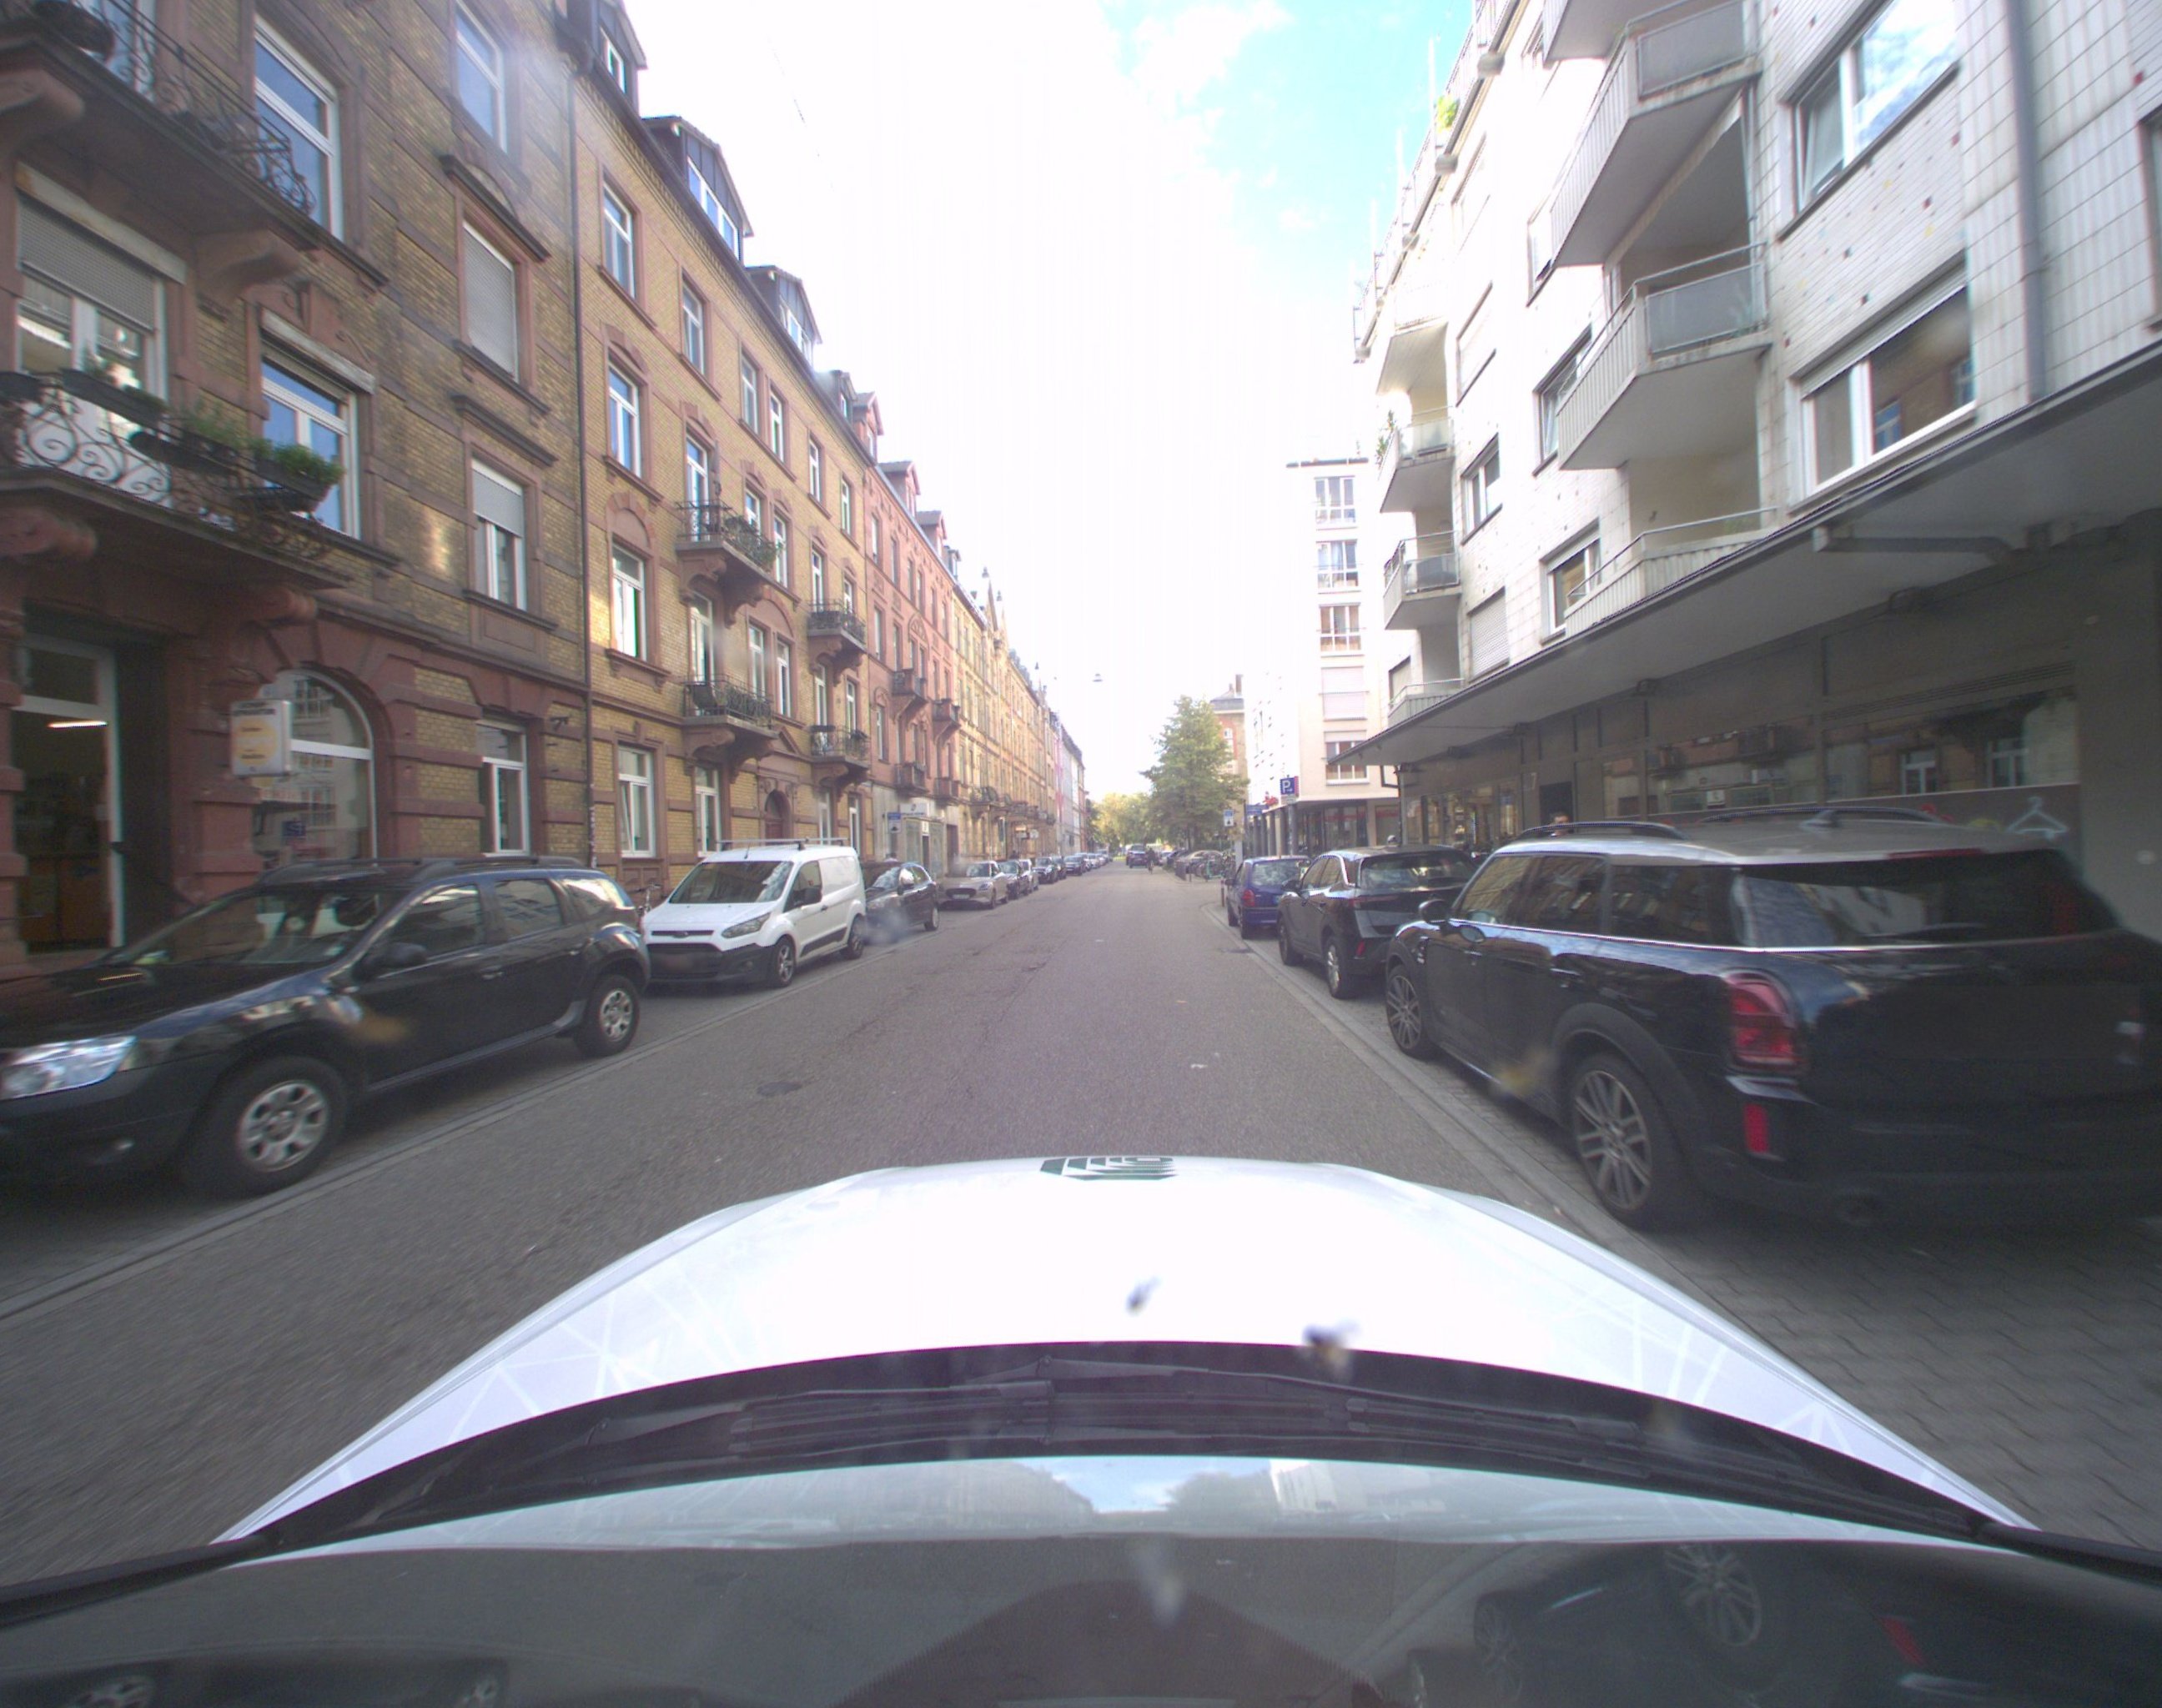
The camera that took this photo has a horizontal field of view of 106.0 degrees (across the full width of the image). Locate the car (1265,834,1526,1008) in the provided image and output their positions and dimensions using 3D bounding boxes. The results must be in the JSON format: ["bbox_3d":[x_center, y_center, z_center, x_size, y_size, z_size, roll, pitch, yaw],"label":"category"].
[{"bbox_3d":[3.405,0.638,9.631,1.681,1.577,3.905,-3,0,3],"label":"car"}]

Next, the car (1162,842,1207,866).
[{"bbox_3d":[9.435,-0.042,74.299,3.964,1.683,1.742,-4,8,8],"label":"car"}]

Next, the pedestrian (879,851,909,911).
[{"bbox_3d":[-5.691,0.805,24.799,0.729,1.790,0.771,2,0,-3],"label":"pedestrian"}]

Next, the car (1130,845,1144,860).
[{"bbox_3d":[7.596,-0.180,110.250,1.774,2.020,3.891,-1,0,3],"label":"car"}]

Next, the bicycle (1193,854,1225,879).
[{"bbox_3d":[6.361,0.606,40.495,1.491,1.146,0.411,-4,0,-1],"label":"bicycle"}]

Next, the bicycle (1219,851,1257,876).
[{"bbox_3d":[7.902,0.484,40.997,1.761,1.146,0.411,-4,0,-2],"label":"bicycle"}]

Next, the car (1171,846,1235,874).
[{"bbox_3d":[7.965,0.425,53.222,3.756,1.546,1.727,-4,-1,-7],"label":"car"}]

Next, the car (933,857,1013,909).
[{"bbox_3d":[-3.368,0.868,26.013,1.734,1.483,3.988,-1,0,4],"label":"car"}]

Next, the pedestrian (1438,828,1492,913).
[{"bbox_3d":[7.516,0.309,15.954,0.640,1.588,0.782,-4,-1,6],"label":"pedestrian"}]

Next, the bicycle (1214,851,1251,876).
[{"bbox_3d":[7.717,0.489,41.513,1.769,1.146,0.409,-4,0,-16],"label":"bicycle"}]

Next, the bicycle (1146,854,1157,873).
[{"bbox_3d":[4.914,0.666,56.838,0.714,1.274,1.887,-1,0,5],"label":"bicycle"}]

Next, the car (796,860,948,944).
[{"bbox_3d":[-4.078,0.876,16.583,1.733,1.483,3.989,-1,0,5],"label":"car"}]

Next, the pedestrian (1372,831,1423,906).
[{"bbox_3d":[7.003,0.320,18.062,0.820,1.588,0.782,-2,-1,6],"label":"pedestrian"}]

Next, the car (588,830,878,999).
[{"bbox_3d":[-4.514,0.680,11.462,1.911,1.871,4.441,-2,0,3],"label":"car"}]

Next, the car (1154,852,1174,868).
[{"bbox_3d":[8.775,0.625,86.338,1.921,1.638,4.005,-1,0,4],"label":"car"}]

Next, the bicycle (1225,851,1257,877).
[{"bbox_3d":[7.941,0.487,40.454,1.488,1.146,0.412,-4,0,4],"label":"bicycle"}]

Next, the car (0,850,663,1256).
[{"bbox_3d":[-4.927,0.815,5.401,1.985,1.638,4.148,-1,0,3],"label":"car"}]

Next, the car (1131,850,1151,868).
[{"bbox_3d":[5.992,0.535,81.275,1.956,1.741,4.046,-1,-1,4],"label":"car"}]

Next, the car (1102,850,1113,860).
[{"bbox_3d":[4.305,0.224,131.302,1.683,1.550,3.871,-1,0,4],"label":"car"}]

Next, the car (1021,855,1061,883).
[{"bbox_3d":[-2.129,0.775,44.028,1.682,1.386,3.871,-1,0,4],"label":"car"}]

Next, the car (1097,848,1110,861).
[{"bbox_3d":[3.173,0.088,116.245,1.683,1.821,3.871,-1,0,4],"label":"car"}]

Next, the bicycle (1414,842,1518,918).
[{"bbox_3d":[7.299,0.454,15.605,0.914,1.291,2.502,-4,0,5],"label":"bicycle"}]

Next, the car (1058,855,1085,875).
[{"bbox_3d":[-0.666,0.785,60.273,1.682,1.369,3.871,1,0,4],"label":"car"}]

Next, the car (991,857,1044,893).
[{"bbox_3d":[-2.681,0.868,35.184,1.682,1.386,3.871,-1,0,4],"label":"car"}]

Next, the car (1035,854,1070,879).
[{"bbox_3d":[-1.722,0.733,49.876,1.682,1.437,3.871,-1,0,4],"label":"car"}]

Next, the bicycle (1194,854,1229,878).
[{"bbox_3d":[6.871,0.638,43.002,1.756,1.099,0.412,-4,0,6],"label":"bicycle"}]

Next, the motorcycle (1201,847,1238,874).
[{"bbox_3d":[8.659,0.380,50.923,2.138,1.530,0.688,-4,0,8],"label":"motorcycle"}]

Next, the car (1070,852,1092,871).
[{"bbox_3d":[0.041,0.656,72.381,1.682,1.550,3.871,1,0,4],"label":"car"}]

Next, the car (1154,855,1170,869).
[{"bbox_3d":[9.032,0.875,90.731,1.682,1.550,3.693,-1,0,5],"label":"car"}]

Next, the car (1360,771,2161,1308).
[{"bbox_3d":[2.987,0.557,4.441,1.784,1.605,3.928,-2,0,4],"label":"car"}]

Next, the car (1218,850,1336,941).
[{"bbox_3d":[3.588,0.681,15.534,1.588,1.439,4.036,-3,0,5],"label":"car"}]

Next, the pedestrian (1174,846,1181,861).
[{"bbox_3d":[15.215,-0.075,128.694,0.991,2.230,0.900,-1,0,5],"label":"pedestrian"}]

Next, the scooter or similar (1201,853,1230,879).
[{"bbox_3d":[6.350,0.573,38.510,1.193,1.147,0.381,-4,1,36],"label":"scooter or similar"}]

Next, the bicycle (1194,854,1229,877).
[{"bbox_3d":[6.987,0.632,43.742,1.756,1.118,0.412,-4,0,6],"label":"bicycle"}]

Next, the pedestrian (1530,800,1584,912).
[{"bbox_3d":[8.144,0.035,13.931,0.700,1.860,0.649,-2,0,33],"label":"pedestrian"}]

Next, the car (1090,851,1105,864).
[{"bbox_3d":[2.042,0.449,99.807,1.683,1.550,3.871,-1,0,4],"label":"car"}]

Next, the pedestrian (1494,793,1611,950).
[{"bbox_3d":[5.613,0.196,9.761,0.610,1.726,1.126,-5,0,-1],"label":"pedestrian"}]

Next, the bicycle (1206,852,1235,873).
[{"bbox_3d":[8.422,0.508,49.241,1.656,1.159,0.558,-4,0,5],"label":"bicycle"}]

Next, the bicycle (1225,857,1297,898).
[{"bbox_3d":[5.153,0.692,23.427,0.694,1.095,1.939,-1,-2,-43],"label":"bicycle"}]

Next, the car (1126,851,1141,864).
[{"bbox_3d":[6.235,0.414,97.128,1.789,1.472,3.891,-1,0,3],"label":"car"}]

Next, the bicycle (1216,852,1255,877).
[{"bbox_3d":[7.544,0.516,39.693,1.756,1.087,0.651,-4,0,6],"label":"bicycle"}]

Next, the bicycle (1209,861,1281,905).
[{"bbox_3d":[4.345,0.775,21.647,0.688,1.095,1.748,-3,-1,-43],"label":"bicycle"}]

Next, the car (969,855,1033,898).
[{"bbox_3d":[-2.955,0.814,30.826,1.734,1.483,3.988,-1,0,4],"label":"car"}]

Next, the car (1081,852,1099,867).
[{"bbox_3d":[0.949,0.560,84.764,1.683,1.550,3.871,-1,0,4],"label":"car"}]

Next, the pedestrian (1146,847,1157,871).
[{"bbox_3d":[4.926,0.355,56.976,0.714,1.650,0.931,-1,0,5],"label":"pedestrian"}]

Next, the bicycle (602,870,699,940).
[{"bbox_3d":[-7.787,0.883,14.836,0.565,1.151,2.003,0,0,4],"label":"bicycle"}]

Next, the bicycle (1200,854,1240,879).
[{"bbox_3d":[6.659,0.599,39.105,1.760,1.056,0.411,-4,0,-1],"label":"bicycle"}]

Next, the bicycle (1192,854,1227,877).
[{"bbox_3d":[7.027,0.625,44.676,1.785,1.159,0.501,-4,0,6],"label":"bicycle"}]

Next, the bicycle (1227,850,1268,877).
[{"bbox_3d":[7.895,0.441,38.620,1.756,1.162,0.651,-4,0,6],"label":"bicycle"}]
